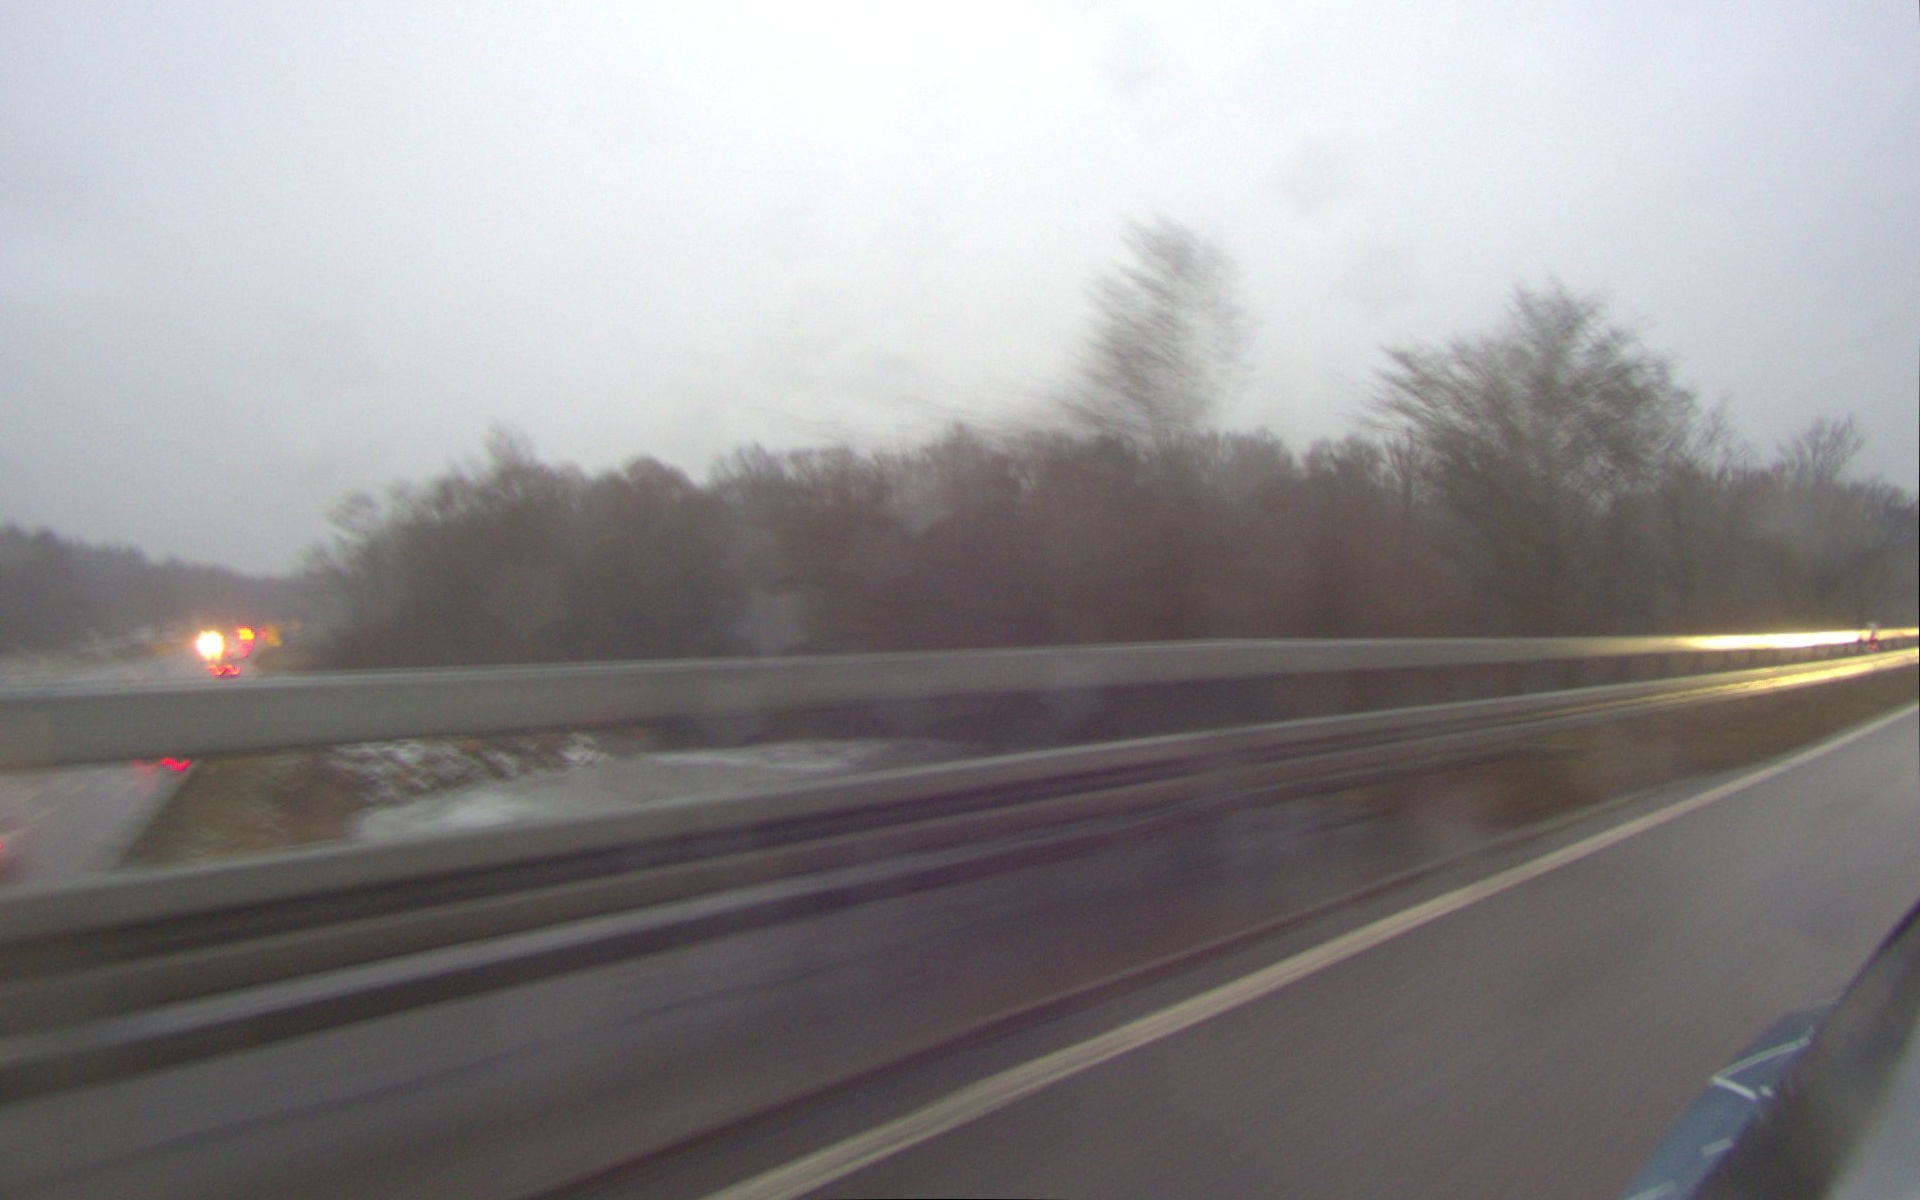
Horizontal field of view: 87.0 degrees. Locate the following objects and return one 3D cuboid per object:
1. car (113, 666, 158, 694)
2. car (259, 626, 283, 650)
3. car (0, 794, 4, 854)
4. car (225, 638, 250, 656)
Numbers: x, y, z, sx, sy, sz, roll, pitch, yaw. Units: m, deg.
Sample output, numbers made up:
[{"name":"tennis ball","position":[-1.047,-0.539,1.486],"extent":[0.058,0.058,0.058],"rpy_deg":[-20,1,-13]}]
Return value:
[{"name":"car","position":[-71.067,6.860,87.310],"extent":[1.959,2.039,5.719],"rpy_deg":[1,-1,-28]},{"name":"car","position":[-105.933,5.793,155.653],"extent":[2.496,3.425,6.666],"rpy_deg":[1,1,-31]},{"name":"car","position":[-27.346,6.480,27.184],"extent":[1.757,1.658,3.991],"rpy_deg":[1,0,-34]},{"name":"car","position":[-99.251,6.383,139.021],"extent":[2.210,2.039,5.719],"rpy_deg":[0,1,-30]}]
